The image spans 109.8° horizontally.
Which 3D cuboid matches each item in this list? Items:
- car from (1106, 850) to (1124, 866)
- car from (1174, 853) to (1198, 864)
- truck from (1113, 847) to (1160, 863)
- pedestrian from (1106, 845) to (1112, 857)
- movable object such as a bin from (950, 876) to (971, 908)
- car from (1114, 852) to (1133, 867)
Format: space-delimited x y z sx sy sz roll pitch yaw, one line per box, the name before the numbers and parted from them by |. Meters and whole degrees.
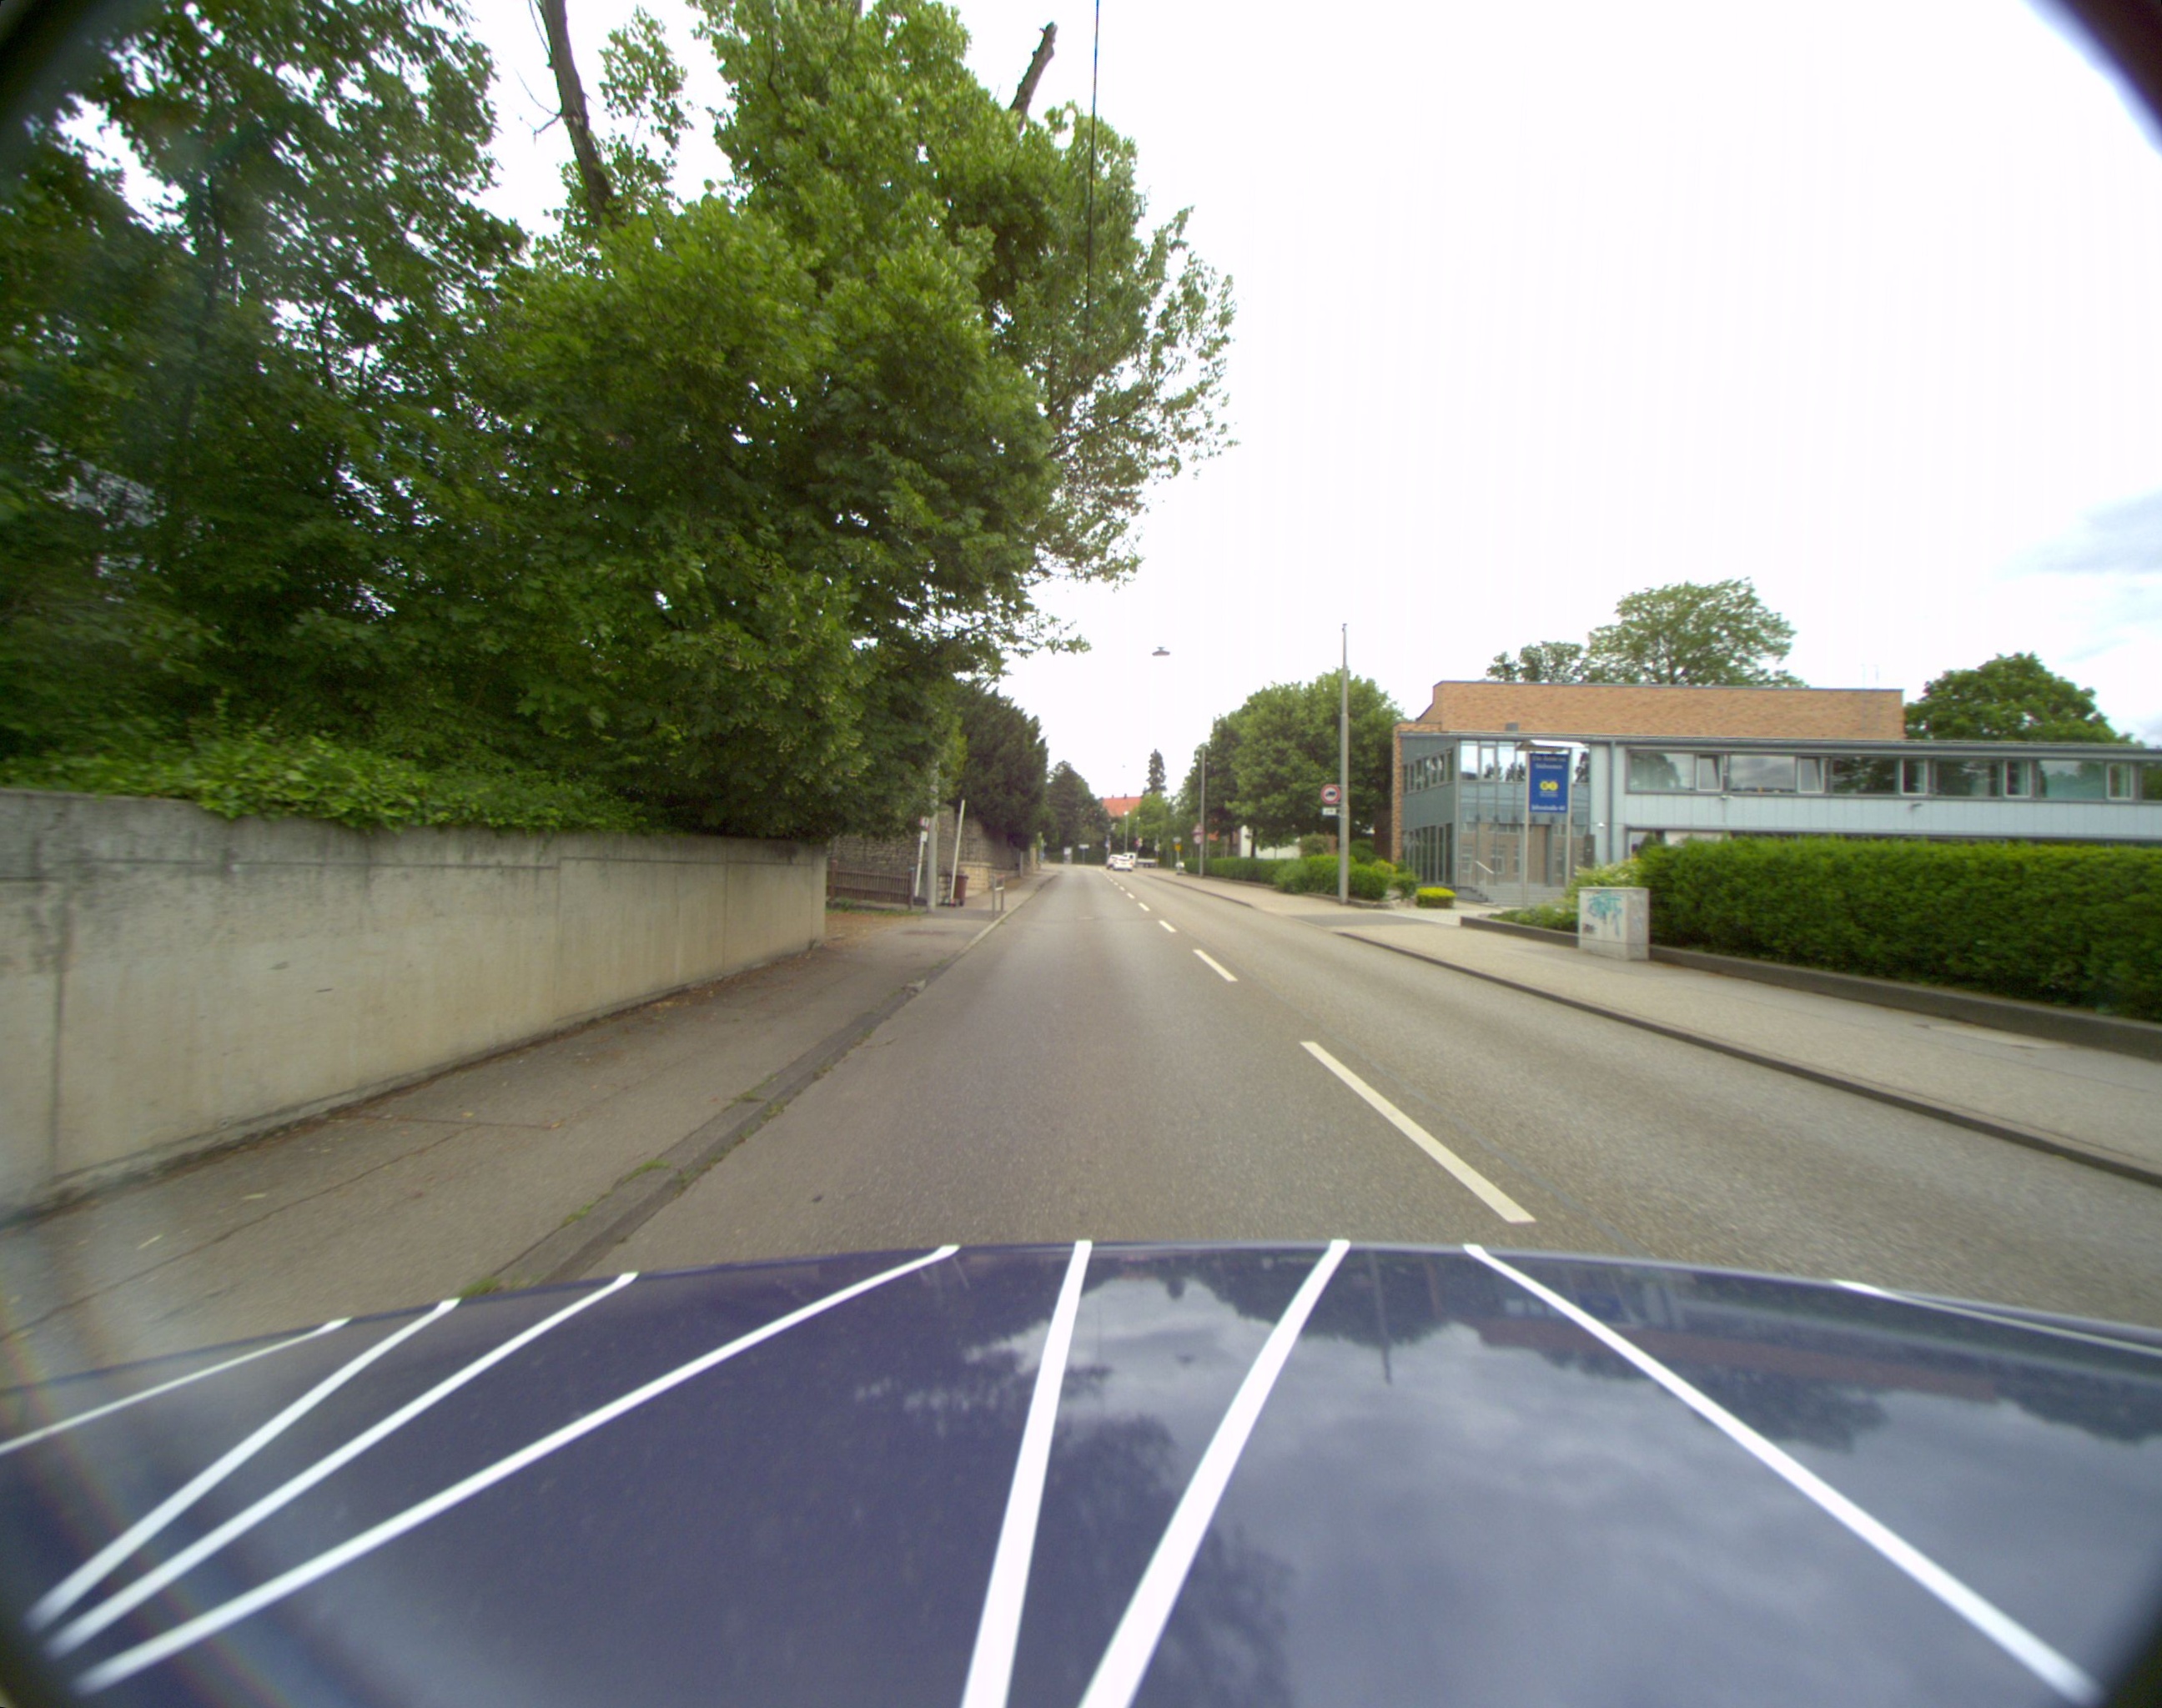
car | 3.771 0.434 84.040 1.773 1.628 4.301 0 0 0
car | 16.336 0.734 118.142 1.994 1.603 4.009 3 0 38
truck | 8.455 0.106 115.648 6.706 2.176 2.532 2 1 11
pedestrian | 4.314 -0.487 118.371 0.665 1.777 0.613 3 0 17
movable object such as a bin | -3.441 1.082 21.708 0.446 0.904 0.394 3 -1 10
car | 4.266 0.537 77.159 1.770 1.413 4.065 0 0 1
